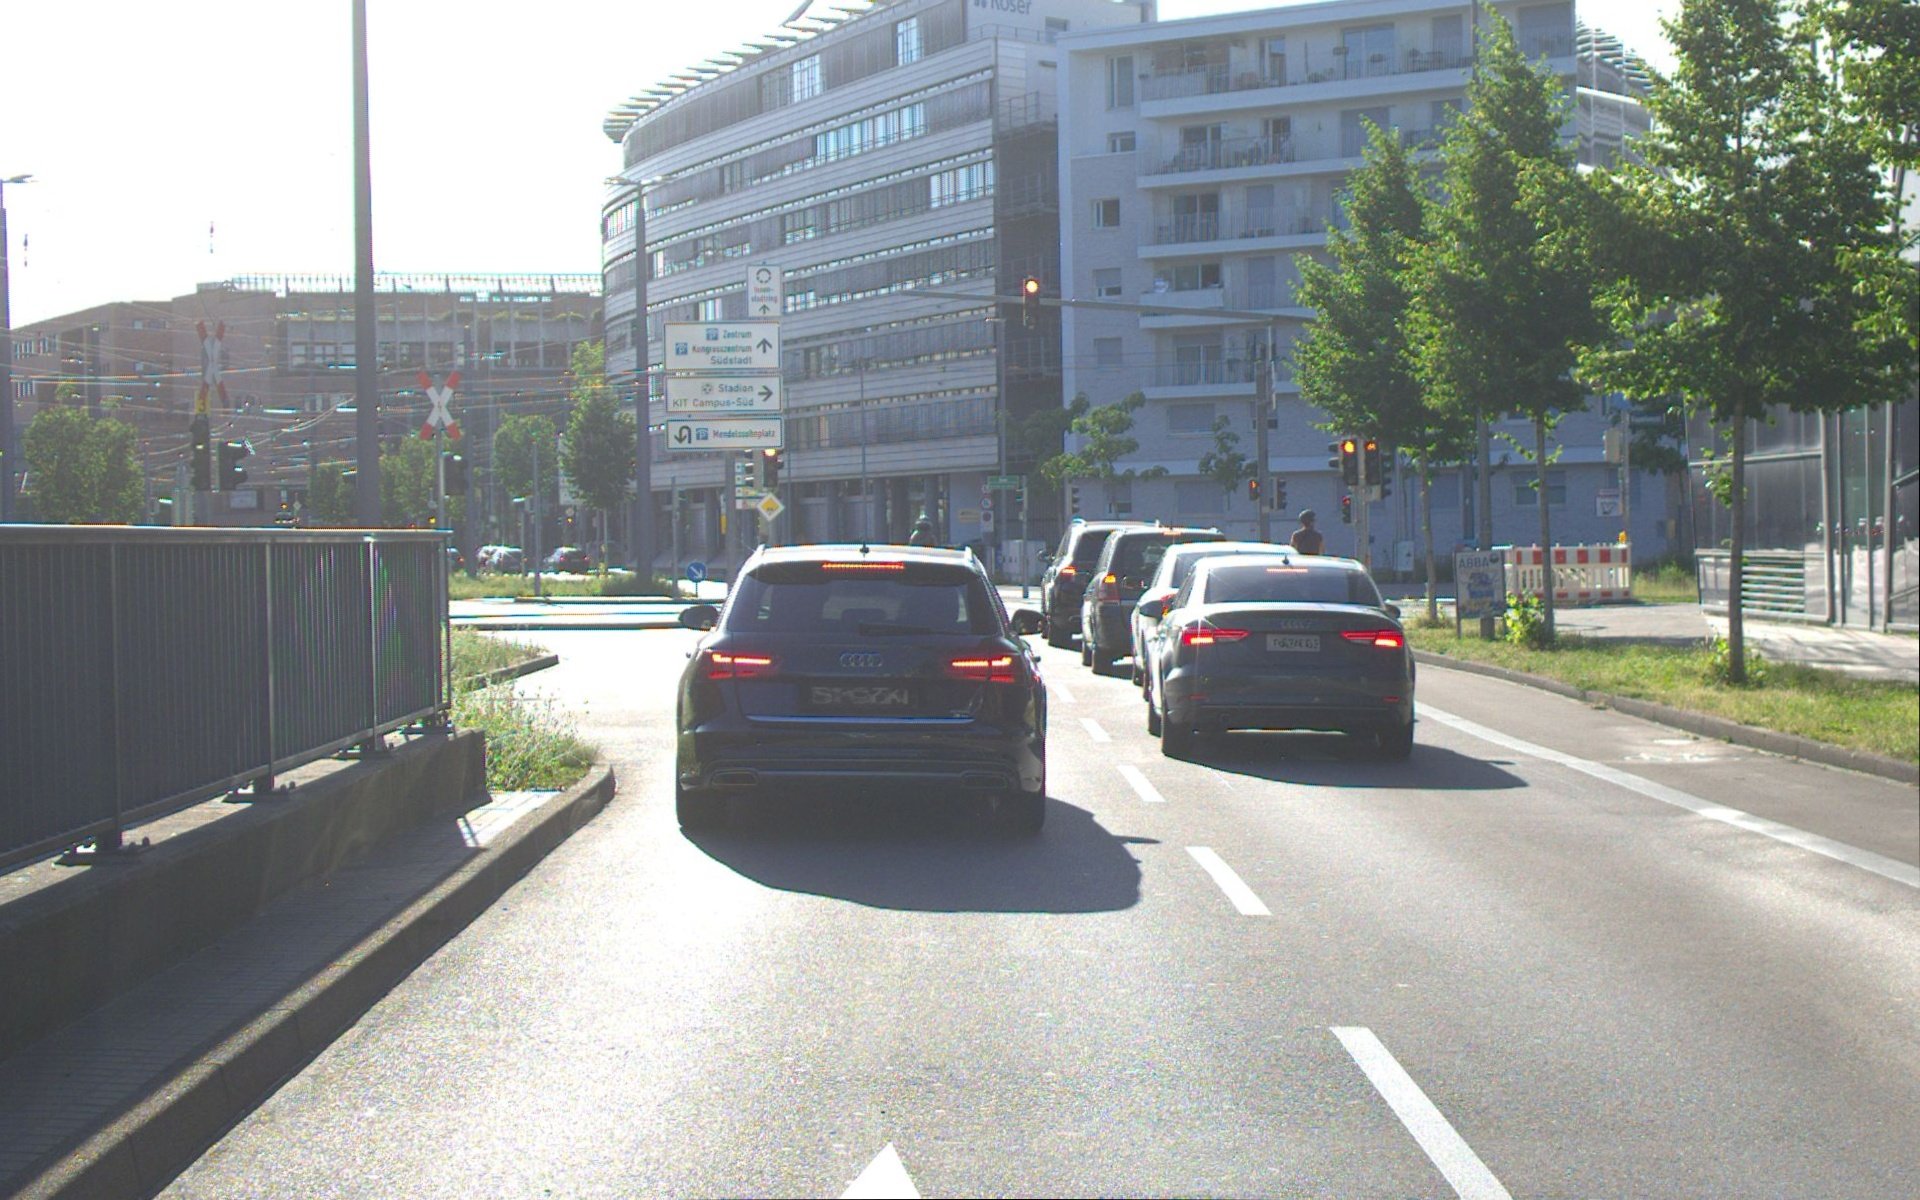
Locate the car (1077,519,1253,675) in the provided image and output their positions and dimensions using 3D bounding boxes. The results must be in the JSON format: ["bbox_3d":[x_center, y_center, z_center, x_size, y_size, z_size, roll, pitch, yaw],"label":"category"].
[{"bbox_3d":[2.304,-0.063,39.496,1.746,1.690,4.261,0,1,0],"label":"car"}]

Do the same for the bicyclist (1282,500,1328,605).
[{"bbox_3d":[5.408,-0.752,53.960,0.654,1.637,0.972,-1,1,3],"label":"bicyclist"}]

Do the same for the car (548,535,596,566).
[{"bbox_3d":[-21.294,-2.706,188.623,1.993,1.590,4.001,-2,0,-15],"label":"car"}]

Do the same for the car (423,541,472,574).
[{"bbox_3d":[-26.633,-2.197,178.543,1.993,1.590,4.001,-2,0,-15],"label":"car"}]

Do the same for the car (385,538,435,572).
[{"bbox_3d":[-29.518,-2.407,184.351,1.993,1.700,4.001,-2,0,-18],"label":"car"}]

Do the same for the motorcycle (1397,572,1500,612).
[{"bbox_3d":[12.666,-0.209,89.159,2.452,0.997,1.172,-1,1,-4],"label":"motorcycle"}]

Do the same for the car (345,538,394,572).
[{"bbox_3d":[-31.587,-2.415,183.768,1.993,1.700,4.001,-2,0,-18],"label":"car"}]

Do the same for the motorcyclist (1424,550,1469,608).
[{"bbox_3d":[12.613,-0.557,89.151,0.925,1.476,1.172,-1,1,-4],"label":"motorcyclist"}]

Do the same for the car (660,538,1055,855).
[{"bbox_3d":[-0.507,0.422,18.225,1.842,1.449,4.000,1,1,-1],"label":"car"}]

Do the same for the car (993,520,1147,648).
[{"bbox_3d":[1.517,-0.265,49.089,2.003,1.709,4.372,1,1,0],"label":"car"}]

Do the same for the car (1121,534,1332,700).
[{"bbox_3d":[2.503,0.122,33.167,1.746,1.476,4.628,-1,1,1],"label":"car"}]

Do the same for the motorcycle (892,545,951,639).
[{"bbox_3d":[-0.582,-0.130,51.979,0.862,1.388,1.894,-1,1,0],"label":"motorcycle"}]

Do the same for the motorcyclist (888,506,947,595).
[{"bbox_3d":[-0.634,-0.748,51.723,0.862,1.322,0.681,-1,1,0],"label":"motorcyclist"}]

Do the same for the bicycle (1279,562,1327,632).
[{"bbox_3d":[5.377,-0.052,53.975,0.654,1.039,1.929,-1,1,3],"label":"bicycle"}]

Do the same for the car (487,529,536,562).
[{"bbox_3d":[-23.036,-2.771,176.388,1.993,1.590,4.001,-2,0,-14],"label":"car"}]

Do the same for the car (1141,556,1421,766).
[{"bbox_3d":[2.250,0.377,25.035,1.746,1.387,4.264,0,1,2],"label":"car"}]
